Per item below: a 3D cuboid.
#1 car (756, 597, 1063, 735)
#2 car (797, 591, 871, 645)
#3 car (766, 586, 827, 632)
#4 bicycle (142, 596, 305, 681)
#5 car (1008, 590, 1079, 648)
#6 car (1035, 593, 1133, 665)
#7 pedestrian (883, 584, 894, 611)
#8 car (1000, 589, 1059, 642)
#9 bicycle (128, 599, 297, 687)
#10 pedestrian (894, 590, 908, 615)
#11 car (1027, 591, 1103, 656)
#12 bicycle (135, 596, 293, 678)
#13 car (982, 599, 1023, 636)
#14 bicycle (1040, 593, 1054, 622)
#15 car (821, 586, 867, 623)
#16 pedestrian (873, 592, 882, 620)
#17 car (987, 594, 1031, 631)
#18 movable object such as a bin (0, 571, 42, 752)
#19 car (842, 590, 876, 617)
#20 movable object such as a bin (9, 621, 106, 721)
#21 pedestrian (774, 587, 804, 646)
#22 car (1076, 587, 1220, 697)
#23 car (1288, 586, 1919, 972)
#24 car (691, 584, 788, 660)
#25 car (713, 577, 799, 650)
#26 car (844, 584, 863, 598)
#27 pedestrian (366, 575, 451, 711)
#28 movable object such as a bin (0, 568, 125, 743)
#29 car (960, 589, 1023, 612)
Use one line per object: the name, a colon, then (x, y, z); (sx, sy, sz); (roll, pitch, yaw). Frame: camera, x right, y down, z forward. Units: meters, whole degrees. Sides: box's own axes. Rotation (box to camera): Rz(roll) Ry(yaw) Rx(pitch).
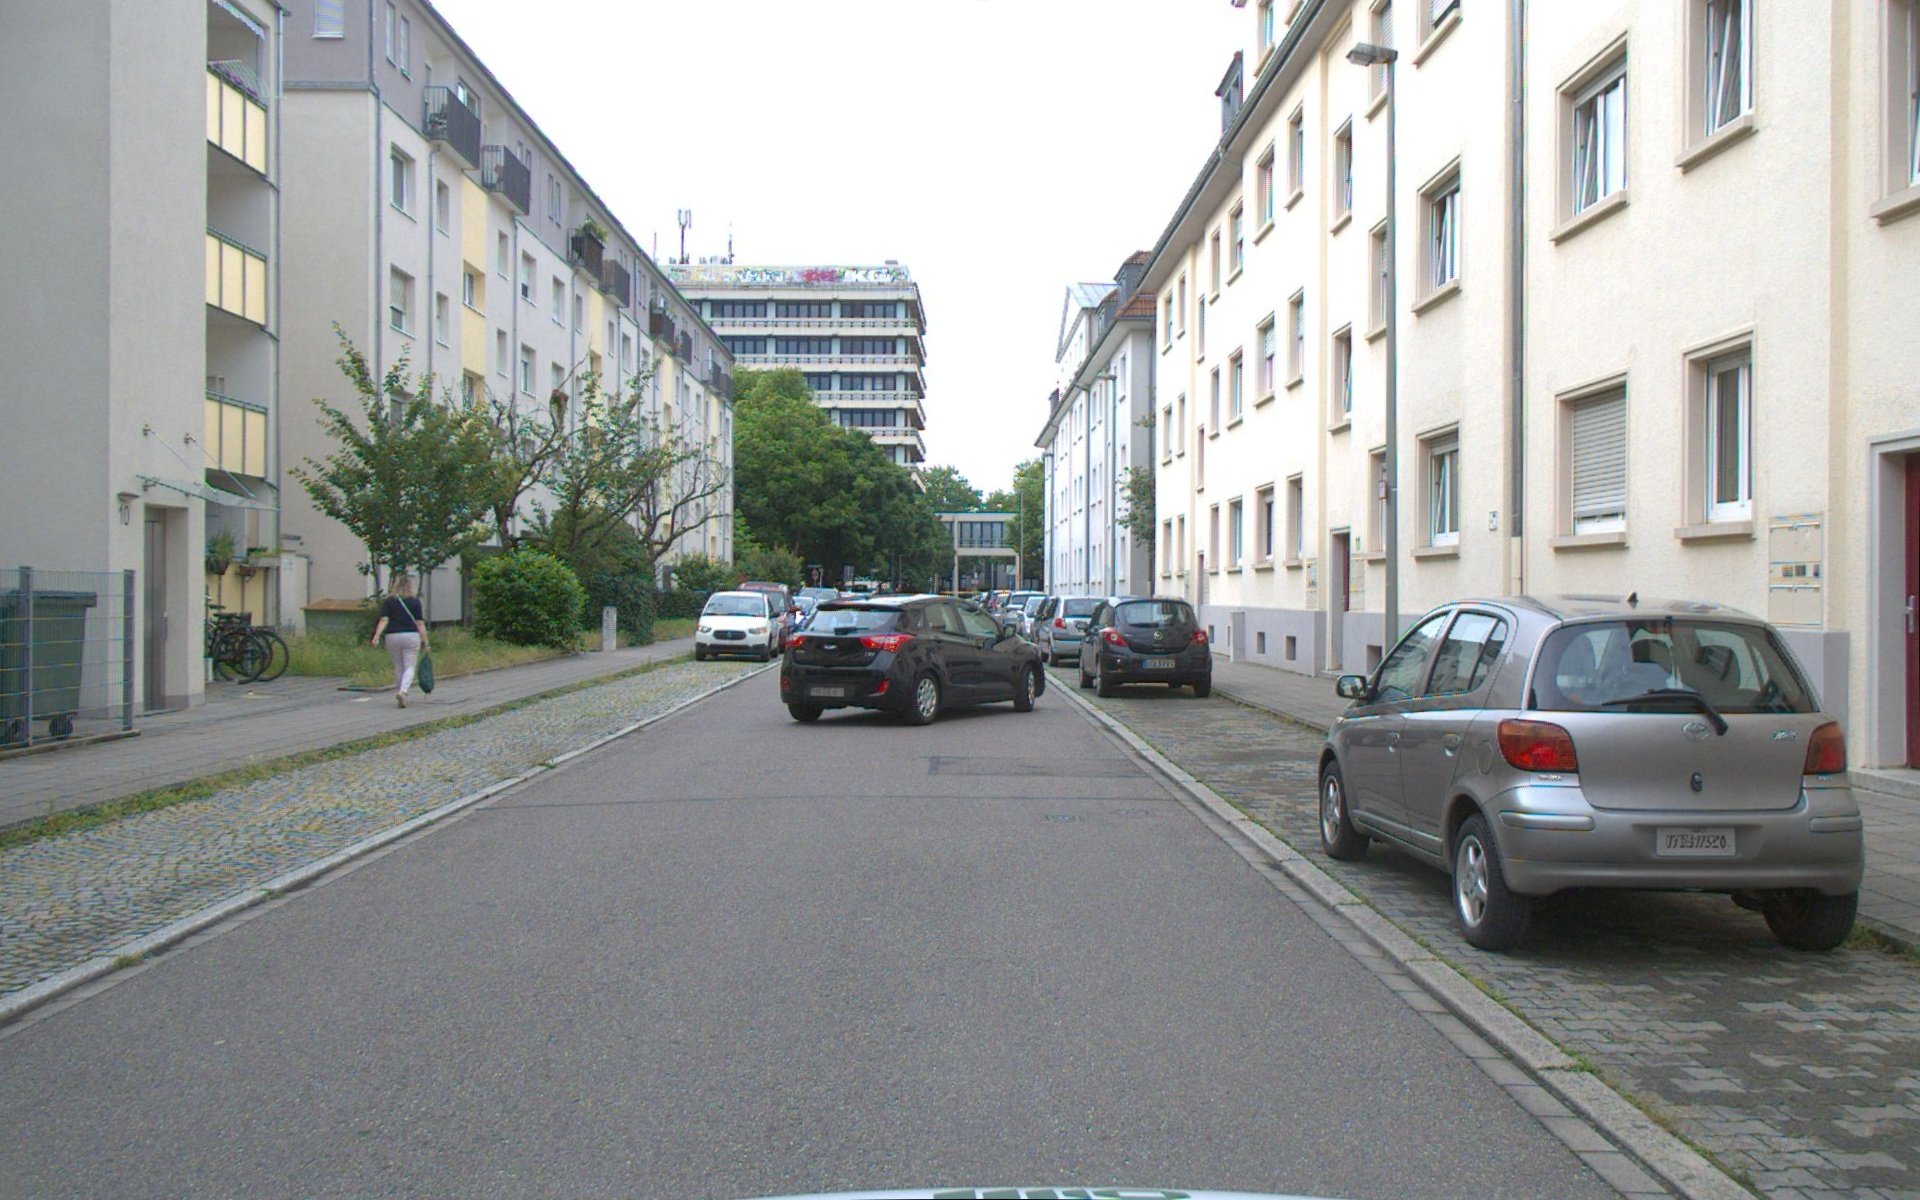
car: (-0.478, 0.697, 19.982); (1.867, 1.458, 4.227); (0, 0, 28)
car: (-3.678, 0.495, 49.000); (1.807, 1.476, 4.501); (1, 0, 0)
car: (-5.430, 0.283, 55.328); (1.709, 1.490, 3.785); (0, 0, -1)
bicycle: (-10.294, 0.534, 23.167); (1.986, 1.161, 0.621); (0, 0, -11)
car: (2.265, 0.477, 45.849); (1.690, 1.502, 4.504); (1, 0, 0)
car: (2.633, 0.579, 35.821); (1.811, 1.475, 3.832); (0, 0, -1)
pedestrian: (-4.986, -0.150, 115.012); (0.699, 1.863, 0.797); (1, 0, 1)
car: (2.278, 0.478, 54.954); (1.783, 1.671, 4.091); (1, 0, 0)
bicycle: (-10.165, 0.581, 22.546); (1.986, 1.161, 0.622); (0, 0, -11)
pedestrian: (-4.100, 0.178, 114.885); (0.952, 1.683, 0.981); (0, 0, 2)
car: (2.544, 0.538, 40.934); (1.570, 1.502, 3.868); (1, 0, -1)
bicycle: (-10.821, 0.533, 24.030); (1.983, 1.161, 0.623); (0, 0, -4)
car: (1.935, 0.773, 75.988); (1.783, 1.631, 4.091); (0, 0, 0)
bicycle: (3.667, 0.321, 69.593); (0.519, 1.196, 2.038); (-1, 0, 5)
car: (-5.472, 0.207, 78.514); (1.856, 1.626, 4.520); (3, 0, -1)
pedestrian: (-5.730, 0.410, 114.561); (0.592, 1.863, 0.675); (1, 0, 1)
car: (2.095, 0.526, 71.268); (1.783, 1.529, 4.091); (0, 0, 0)
movable object such as a bin: (-8.104, 0.487, 13.188); (0.787, 1.454, 1.288); (1, 0, 2)
car: (-6.019, 0.177, 99.133); (1.954, 1.568, 3.998); (1, 0, -3)
movable object such as a bin: (-9.195, 0.715, 16.872); (0.623, 0.982, 0.652); (0, 0, -1)
pedestrian: (-5.044, 0.488, 48.827); (0.729, 1.731, 0.792); (0, 0, -18)
car: (2.812, 0.584, 25.533); (1.690, 1.544, 4.060); (0, 0, -1)
car: (2.997, 0.705, 8.678); (1.690, 1.544, 4.060); (0, 0, -1)
car: (-4.979, 0.465, 37.823); (1.685, 1.597, 3.870); (2, 0, -1)
car: (-5.329, 0.325, 43.670); (1.917, 1.801, 4.359); (1, 0, -3)
car: (-10.152, -0.870, 157.286); (1.632, 1.356, 3.395); (1, 1, -1)
pedestrian: (-6.824, 0.517, 20.496); (0.784, 1.638, 0.946); (1, 0, -5)
movable object such as a bin: (-8.079, 0.456, 14.510); (0.787, 1.454, 1.288); (1, 0, 3)
car: (2.092, 0.023, 110.140); (4.060, 1.524, 1.809); (0, 0, -2)
